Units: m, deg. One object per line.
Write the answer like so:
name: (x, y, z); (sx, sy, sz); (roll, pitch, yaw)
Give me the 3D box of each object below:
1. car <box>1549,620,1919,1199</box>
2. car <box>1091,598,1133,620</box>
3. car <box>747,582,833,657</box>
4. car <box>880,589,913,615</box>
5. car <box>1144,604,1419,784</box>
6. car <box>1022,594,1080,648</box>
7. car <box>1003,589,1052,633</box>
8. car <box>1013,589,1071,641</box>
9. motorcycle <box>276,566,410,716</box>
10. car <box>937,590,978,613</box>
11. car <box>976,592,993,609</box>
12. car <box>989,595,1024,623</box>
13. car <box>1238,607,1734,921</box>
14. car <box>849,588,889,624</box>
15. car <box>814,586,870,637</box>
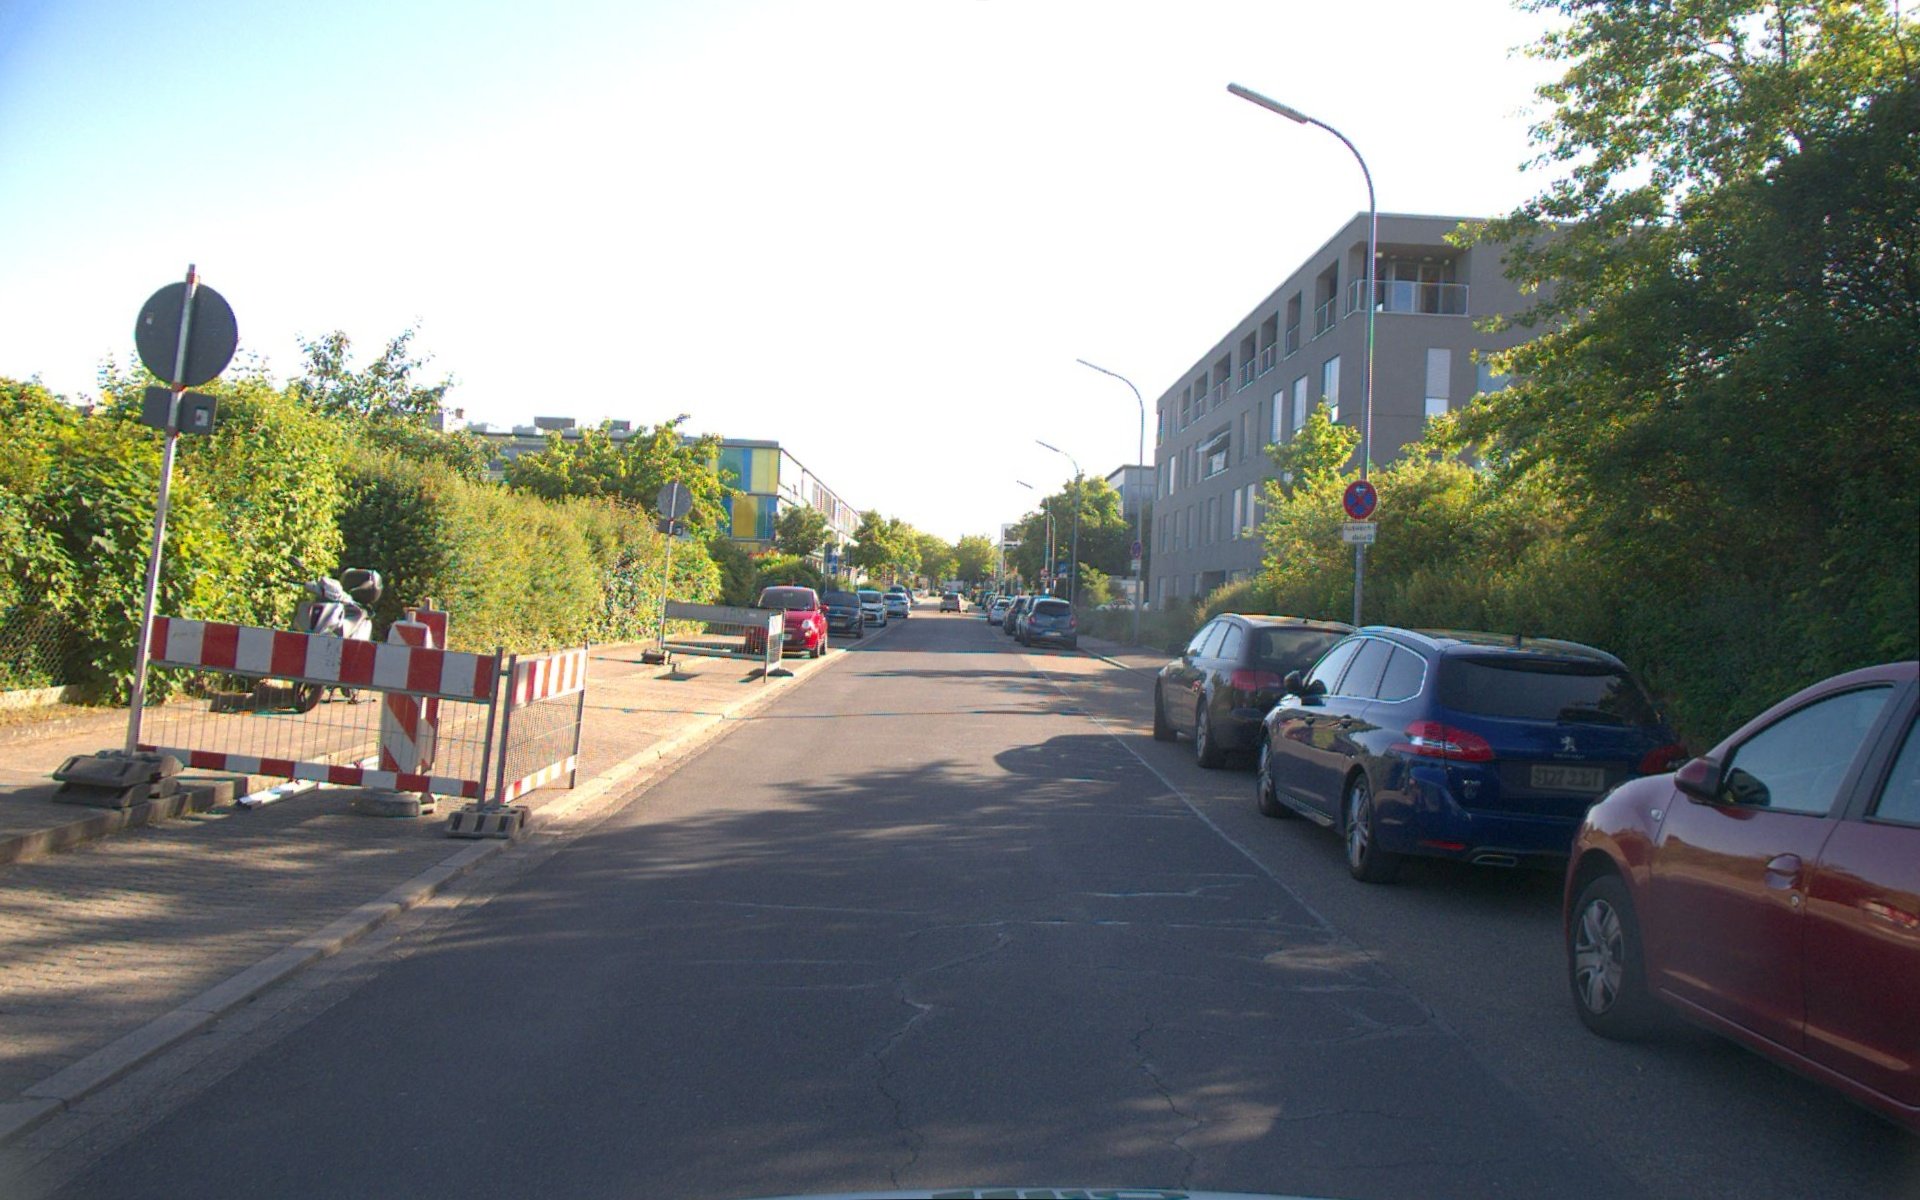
car: (3.332, 0.907, 4.949); (1.621, 1.512, 3.838); (4, 0, -1)
car: (12.066, 0.708, 131.396); (3.149, 1.576, 1.450); (4, 0, 2)
car: (-3.697, 0.404, 36.468); (1.528, 1.521, 3.570); (1, 0, -1)
car: (-3.851, 0.124, 101.236); (1.817, 1.453, 4.133); (4, 0, -1)
car: (3.121, 0.842, 17.033); (1.719, 1.438, 4.655); (4, 0, -2)
car: (2.868, 0.630, 52.902); (1.589, 1.553, 3.902); (4, 0, 1)
car: (2.768, 0.440, 68.460); (1.706, 1.653, 4.178); (4, 0, -1)
car: (2.849, 0.504, 58.359); (1.643, 1.636, 4.178); (4, 0, -1)
motorcycle: (-5.792, 0.364, 15.636); (0.555, 1.290, 2.089); (3, -1, -4)
car: (-0.205, 0.154, 127.312); (1.657, 1.576, 3.610); (4, 0, 26)
car: (2.411, 0.076, 163.031); (1.416, 1.576, 3.613); (3, 0, -1)
car: (2.572, 0.494, 92.397); (1.706, 1.453, 4.133); (4, 0, -1)
car: (3.122, 0.862, 10.899); (1.621, 1.469, 4.655); (4, 0, -1)
car: (-3.917, 0.246, 71.776); (1.528, 1.521, 3.758); (1, 0, -1)
car: (-3.879, 0.366, 54.855); (1.528, 1.520, 3.570); (4, 0, -1)
